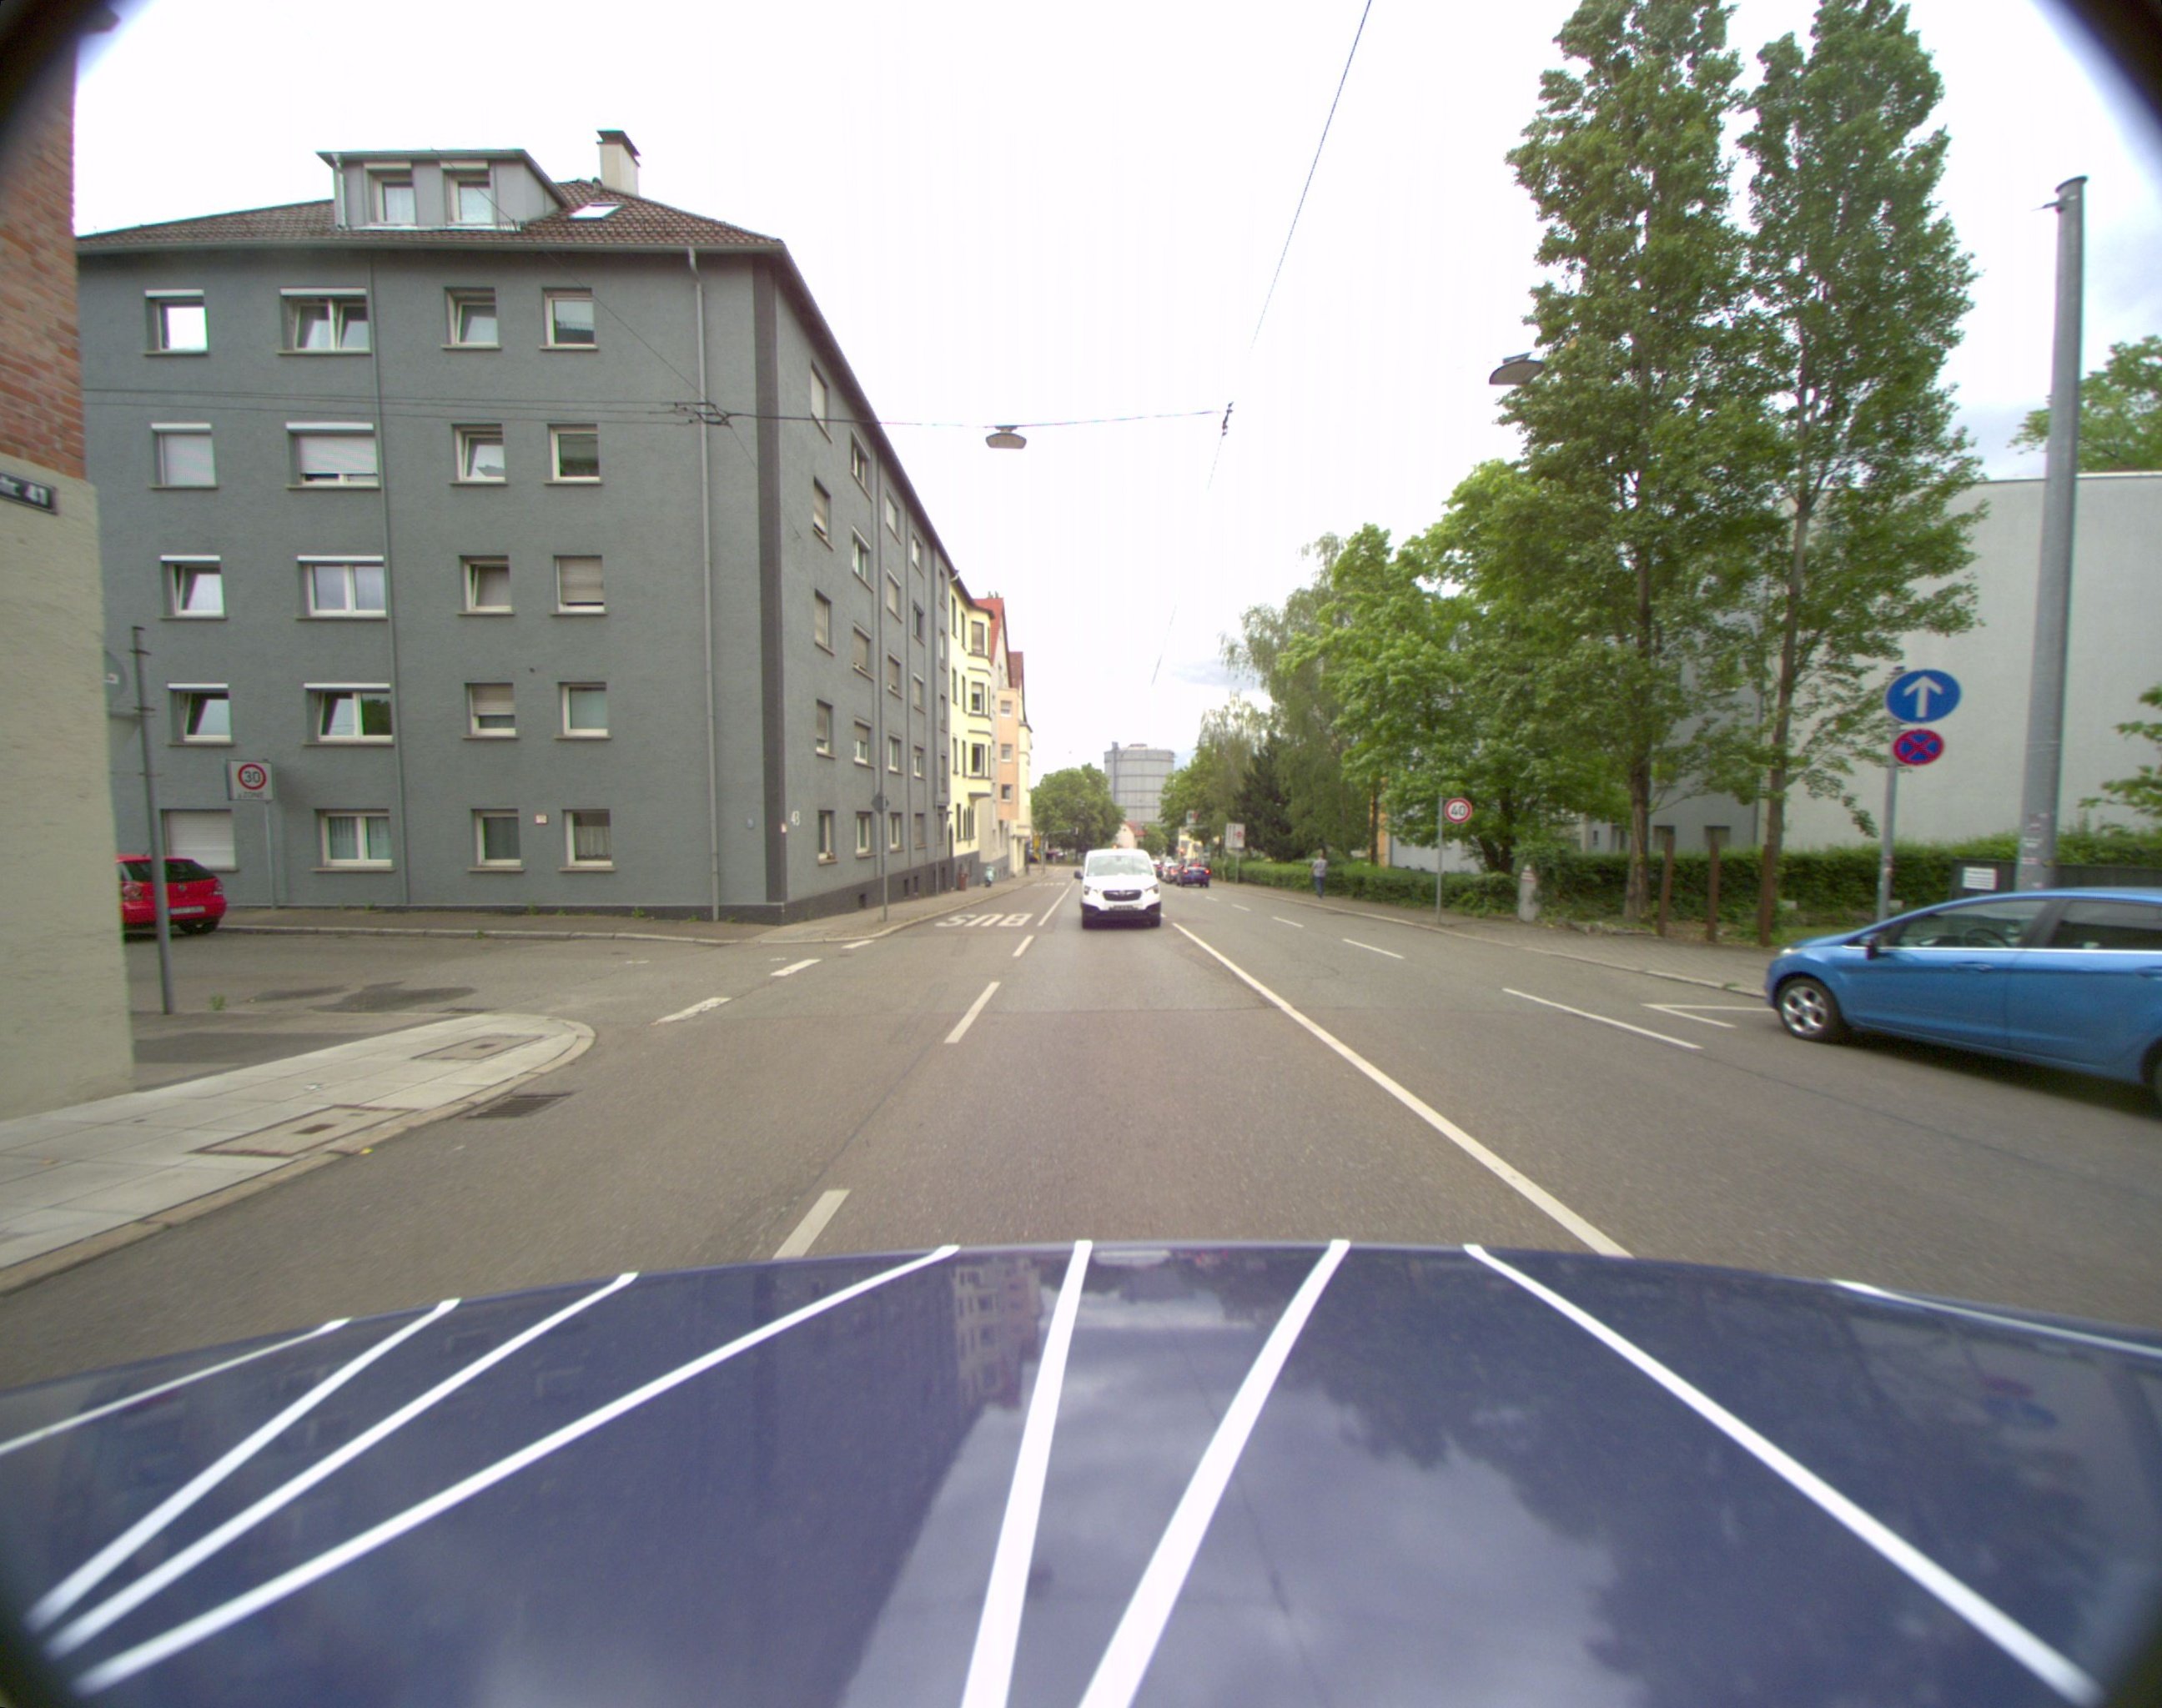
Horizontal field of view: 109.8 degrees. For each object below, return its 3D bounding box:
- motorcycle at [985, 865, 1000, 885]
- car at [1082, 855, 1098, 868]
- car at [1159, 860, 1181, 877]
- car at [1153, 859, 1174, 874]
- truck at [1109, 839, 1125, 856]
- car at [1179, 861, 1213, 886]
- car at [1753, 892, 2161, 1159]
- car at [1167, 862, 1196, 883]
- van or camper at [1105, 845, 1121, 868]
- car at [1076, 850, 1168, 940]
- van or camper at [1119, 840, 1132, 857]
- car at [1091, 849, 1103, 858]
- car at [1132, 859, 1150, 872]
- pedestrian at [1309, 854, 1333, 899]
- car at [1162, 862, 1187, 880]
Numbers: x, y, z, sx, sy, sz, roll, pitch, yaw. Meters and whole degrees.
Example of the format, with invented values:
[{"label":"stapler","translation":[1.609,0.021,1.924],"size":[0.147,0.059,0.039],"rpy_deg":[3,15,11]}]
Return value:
[{"label":"motorcycle","translation":[-5.109,1.217,43.985],"size":[0.566,1.105,1.653],"rpy_deg":[5,0,2]},{"label":"car","translation":[1.097,0.920,91.564],"size":[1.724,1.486,3.728],"rpy_deg":[1,0,2]},{"label":"car","translation":[8.035,1.321,68.858],"size":[1.724,1.408,3.728],"rpy_deg":[1,0,2]},{"label":"car","translation":[8.156,1.245,75.509],"size":[1.724,1.408,3.728],"rpy_deg":[1,0,2]},{"label":"truck","translation":[7.413,-1.258,156.783],"size":[2.980,3.394,9.358],"rpy_deg":[-2,0,1]},{"label":"car","translation":[7.214,1.214,47.969],"size":[1.724,1.475,3.728],"rpy_deg":[1,0,2]},{"label":"car","translation":[7.283,1.103,5.375],"size":[1.724,1.445,3.727],"rpy_deg":[1,0,0]},{"label":"car","translation":[7.363,1.341,55.687],"size":[1.724,1.408,3.728],"rpy_deg":[1,0,2]},{"label":"van or camper","translation":[3.960,0.260,95.410],"size":[1.914,2.754,5.925],"rpy_deg":[1,0,2]},{"label":"car","translation":[0.903,0.848,18.073],"size":[1.840,1.797,4.939],"rpy_deg":[-2,0,1]},{"label":"van or camper","translation":[7.273,-0.899,125.141],"size":[1.914,2.754,5.925],"rpy_deg":[1,0,2]},{"label":"car","translation":[2.480,-0.076,118.629],"size":[1.724,1.486,3.728],"rpy_deg":[1,0,2]},{"label":"car","translation":[6.542,1.233,82.914],"size":[1.724,1.408,3.728],"rpy_deg":[1,0,2]},{"label":"pedestrian","translation":[9.848,0.917,31.199],"size":[0.746,1.839,0.776],"rpy_deg":[-1,0,2]},{"label":"car","translation":[7.689,1.406,62.997],"size":[1.724,1.408,3.728],"rpy_deg":[1,0,2]}]
